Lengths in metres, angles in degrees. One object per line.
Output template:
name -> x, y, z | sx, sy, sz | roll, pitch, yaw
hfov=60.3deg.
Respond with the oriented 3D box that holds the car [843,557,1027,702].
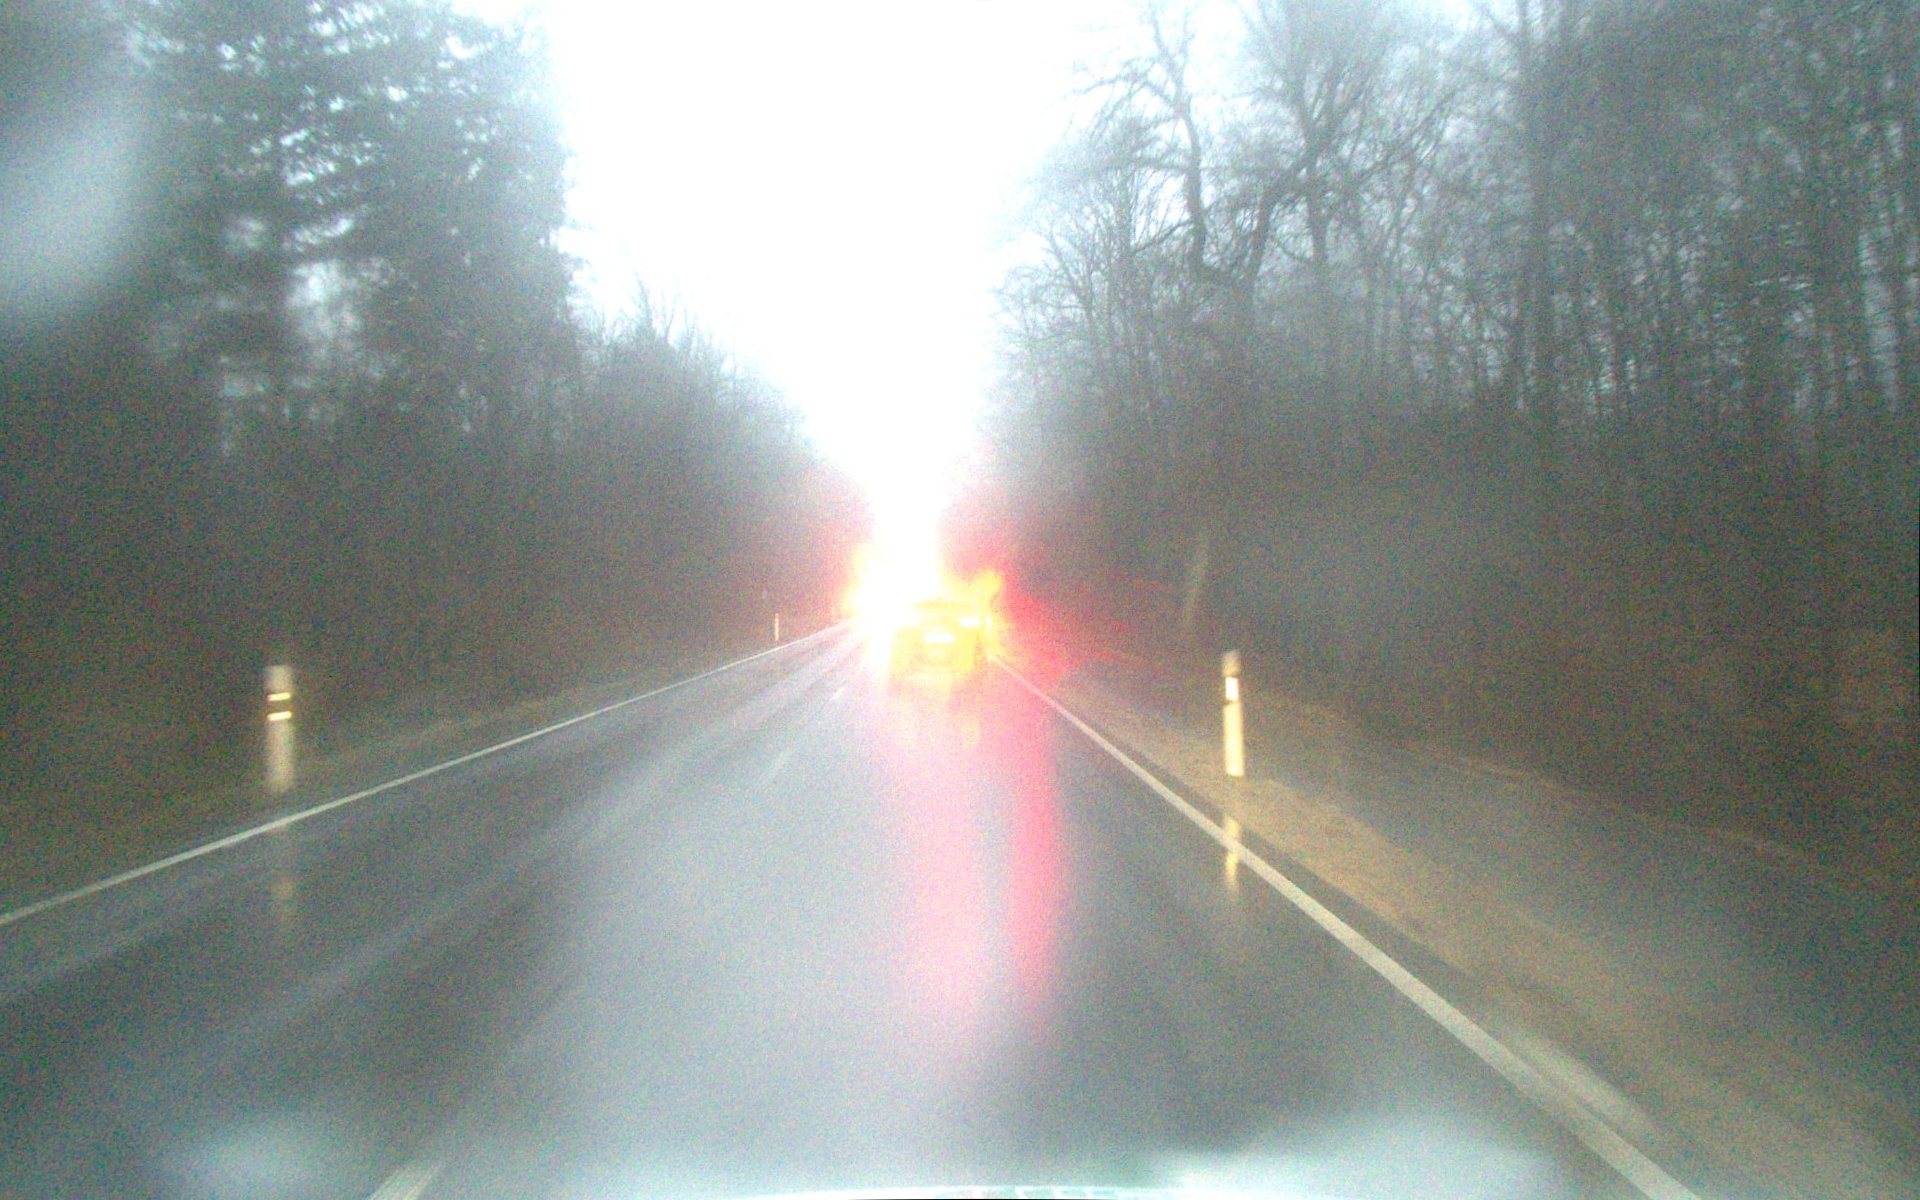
car -> -0.472, 0.518, 31.601 | 3.119, 2.428, 6.635 | 1, 0, -1
